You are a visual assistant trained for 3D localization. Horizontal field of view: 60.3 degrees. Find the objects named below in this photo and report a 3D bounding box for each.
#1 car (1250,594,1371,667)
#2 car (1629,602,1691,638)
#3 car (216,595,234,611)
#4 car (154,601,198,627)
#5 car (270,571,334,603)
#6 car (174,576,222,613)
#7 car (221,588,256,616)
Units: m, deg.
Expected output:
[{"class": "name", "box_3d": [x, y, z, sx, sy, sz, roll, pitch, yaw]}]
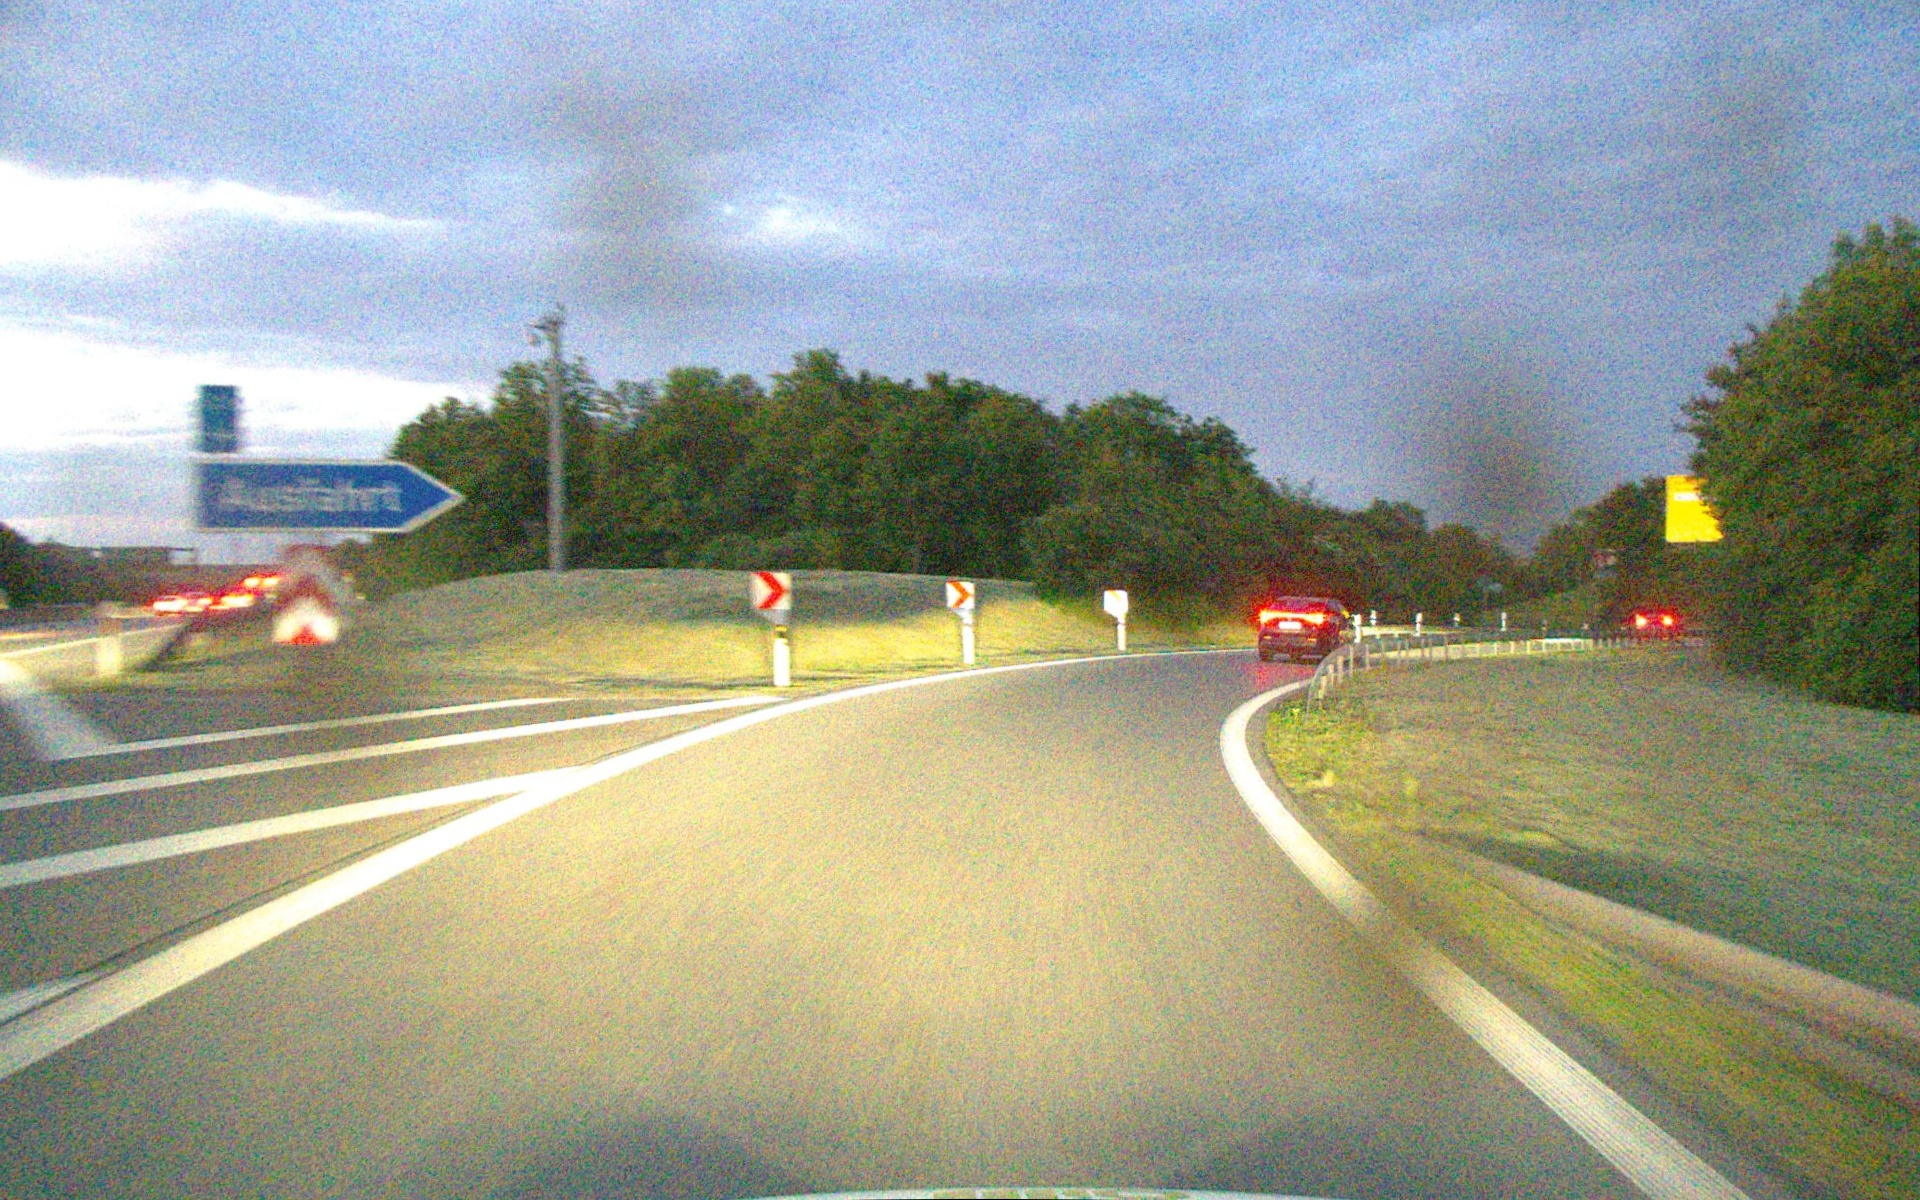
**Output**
[{"class": "car", "box_3d": [8.876, 0.721, 41.612, 1.955, 1.688, 4.310, 1, 1, 26]}, {"class": "car", "box_3d": [33.991, 0.946, 80.297, 1.960, 1.626, 3.985, 1, 1, 35]}, {"class": "car", "box_3d": [-103.298, 0.440, 232.459, 2.077, 2.048, 3.971, -4, 2, -24]}, {"class": "car", "box_3d": [-57.987, 1.037, 122.387, 1.960, 1.671, 4.539, -3, 2, -13]}, {"class": "car", "box_3d": [-43.042, -0.839, 108.139, 2.251, 2.049, 5.064, -1, 1, -43]}, {"class": "car", "box_3d": [-44.973, -0.345, 97.666, 1.962, 2.048, 3.982, -2, 1, -17]}, {"class": "car", "box_3d": [-59.153, 0.146, 135.631, 1.962, 2.048, 3.983, -3, 2, -16]}]
